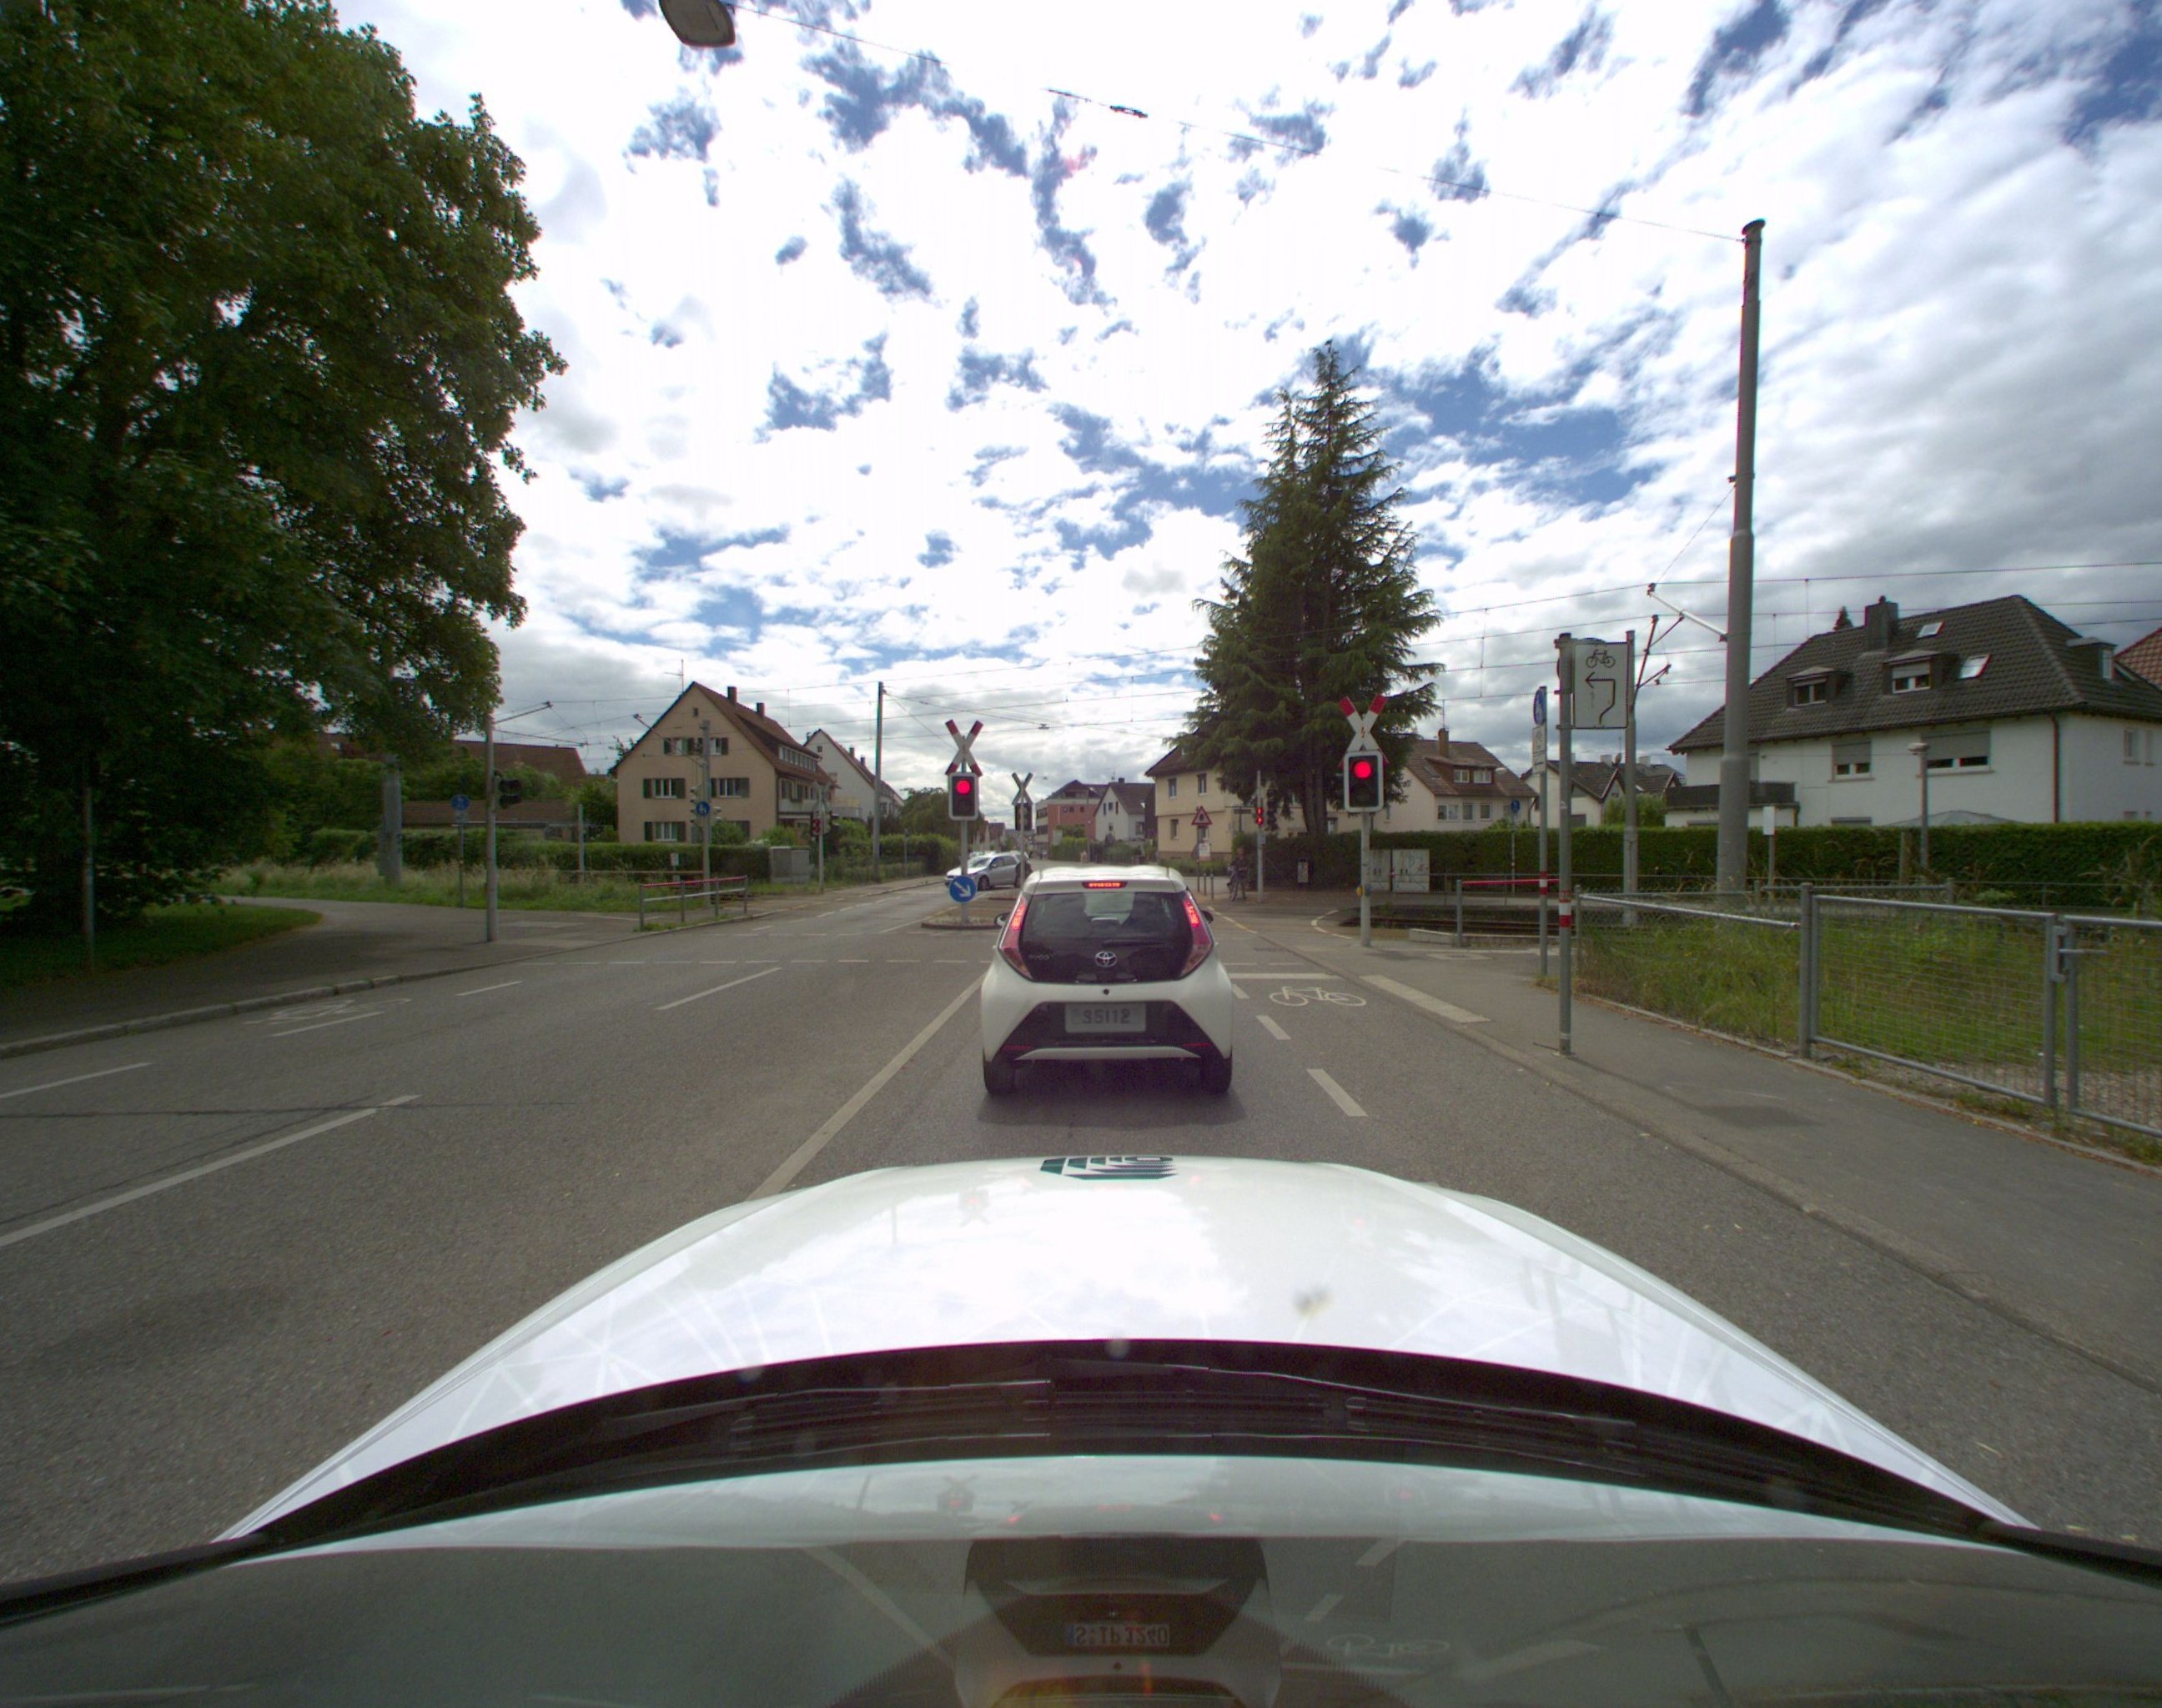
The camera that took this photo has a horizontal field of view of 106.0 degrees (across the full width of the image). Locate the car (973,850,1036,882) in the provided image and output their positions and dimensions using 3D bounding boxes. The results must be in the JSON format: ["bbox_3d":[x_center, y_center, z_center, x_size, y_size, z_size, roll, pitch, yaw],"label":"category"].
[{"bbox_3d":[-3.806,0.595,40.821,1.560,1.510,2.804,0,-1,44],"label":"car"}]

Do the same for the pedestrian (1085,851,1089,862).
[{"bbox_3d":[0.753,0.327,101.681,0.440,1.437,0.409,0,0,-44],"label":"pedestrian"}]

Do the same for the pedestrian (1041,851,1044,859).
[{"bbox_3d":[-6.720,0.212,141.298,0.413,1.437,0.436,0,0,-9],"label":"pedestrian"}]

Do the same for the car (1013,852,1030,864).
[{"bbox_3d":[-7.874,0.483,107.348,1.775,1.561,4.155,-1,0,-10],"label":"car"}]

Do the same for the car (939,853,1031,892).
[{"bbox_3d":[-4.027,0.739,34.784,1.672,1.458,4.095,0,1,32],"label":"car"}]

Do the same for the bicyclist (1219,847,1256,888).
[{"bbox_3d":[5.067,0.427,26.252,0.923,1.247,1.108,-2,0,23],"label":"bicyclist"}]

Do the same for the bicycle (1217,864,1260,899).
[{"bbox_3d":[5.115,0.875,26.339,0.923,1.040,1.925,-2,0,23],"label":"bicycle"}]

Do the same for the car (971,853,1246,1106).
[{"bbox_3d":[0.226,0.764,6.843,1.615,1.486,4.001,-1,-1,2],"label":"car"}]
